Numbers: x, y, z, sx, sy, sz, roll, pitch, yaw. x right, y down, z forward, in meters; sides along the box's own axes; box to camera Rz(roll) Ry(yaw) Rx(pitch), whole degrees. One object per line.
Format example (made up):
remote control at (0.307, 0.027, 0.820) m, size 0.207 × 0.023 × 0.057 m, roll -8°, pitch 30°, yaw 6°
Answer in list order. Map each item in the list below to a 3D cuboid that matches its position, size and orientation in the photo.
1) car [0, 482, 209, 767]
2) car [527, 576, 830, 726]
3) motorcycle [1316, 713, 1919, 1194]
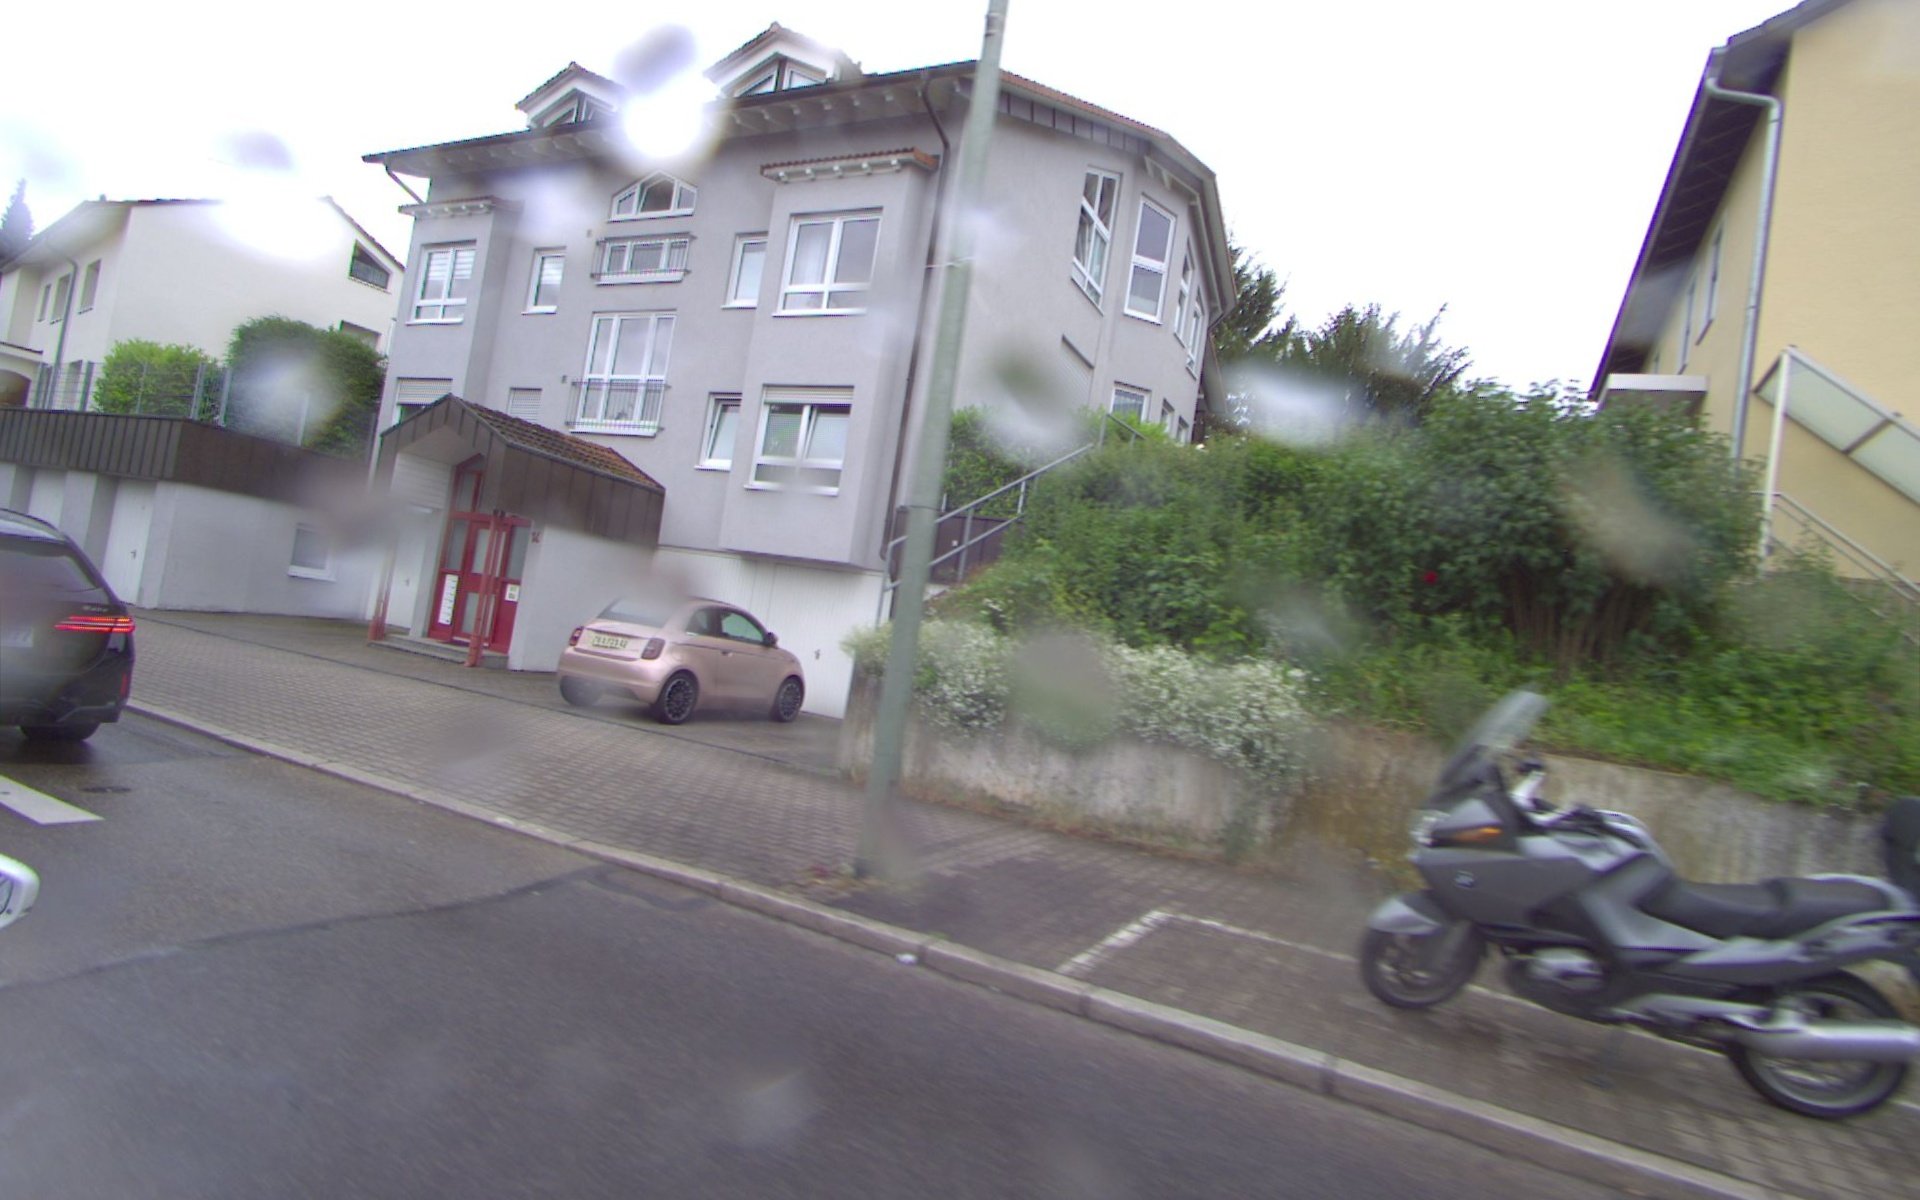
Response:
car at (-7.451, -0.025, 6.739) m, size 4.583 × 1.604 × 1.999 m, roll 5°, pitch -3°, yaw 28°
car at (-3.511, 0.755, 13.247) m, size 1.780 × 1.501 × 3.646 m, roll 7°, pitch -3°, yaw 24°
motorcycle at (2.860, 1.326, 4.126) m, size 2.436 × 1.340 × 0.694 m, roll 7°, pitch -1°, yaw 27°
